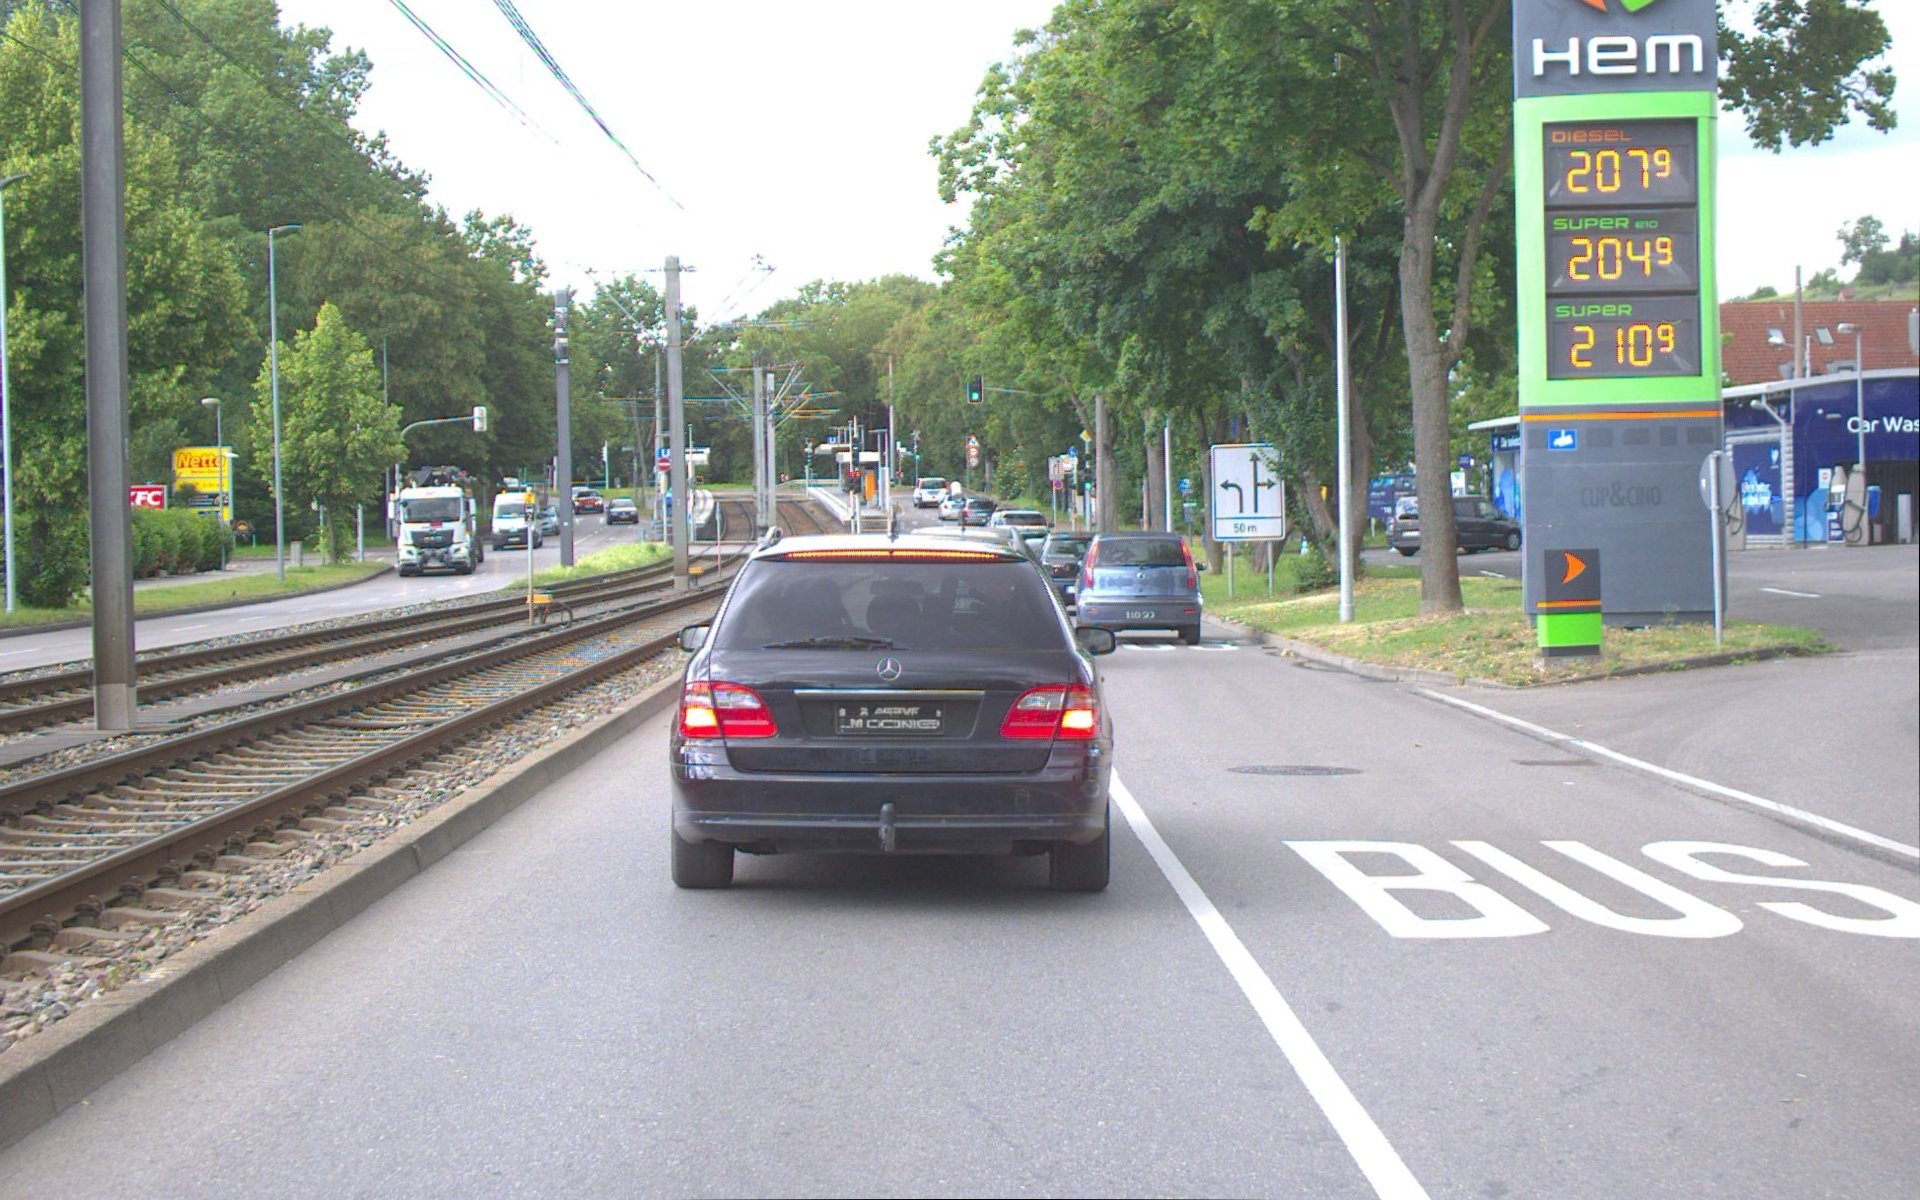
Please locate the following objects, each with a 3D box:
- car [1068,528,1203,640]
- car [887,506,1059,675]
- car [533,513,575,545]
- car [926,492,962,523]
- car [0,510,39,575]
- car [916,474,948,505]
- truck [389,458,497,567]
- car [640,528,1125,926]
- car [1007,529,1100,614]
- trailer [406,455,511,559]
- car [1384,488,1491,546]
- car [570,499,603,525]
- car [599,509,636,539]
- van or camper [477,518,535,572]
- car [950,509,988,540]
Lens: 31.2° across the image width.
[{"bbox_3d":[2.297,-0.228,45.601,1.571,1.410,3.354,1,1,0],"label":"car"},{"bbox_3d":[0.119,-0.127,38.013,1.780,1.744,3.718,1,1,0],"label":"car"},{"bbox_3d":[-21.290,-3.732,180.254,1.765,1.641,3.771,1,1,0],"label":"car"},{"bbox_3d":[-0.909,-5.196,193.189,1.993,1.708,4.000,-1,1,0],"label":"car"},{"bbox_3d":[-25.247,-1.406,85.961,3.986,1.594,1.797,-1,1,-5],"label":"car"},{"bbox_3d":[-1.766,-6.927,216.170,1.993,1.831,4.000,1,1,-1],"label":"car"},{"bbox_3d":[-18.449,-3.103,123.264,2.706,3.651,11.114,-1,1,-3],"label":"truck"},{"bbox_3d":[-0.304,0.436,14.798,1.808,1.469,3.881,0,1,0],"label":"car"},{"bbox_3d":[1.601,-0.509,59.654,1.466,1.410,3.354,1,1,0],"label":"car"},{"bbox_3d":[-18.808,-3.467,129.582,2.704,3.648,13.301,-1,1,-3],"label":"trailer"},{"bbox_3d":[14.582,-2.549,104.805,2.008,1.677,4.574,-1,1,24],"label":"car"},{"bbox_3d":[-24.401,-5.742,224.941,1.765,1.641,3.771,1,1,0],"label":"car"},{"bbox_3d":[-19.755,-4.379,198.512,1.765,1.641,3.771,1,1,0],"label":"car"},{"bbox_3d":[-20.429,-2.487,154.864,1.993,2.346,5.766,-1,1,-2],"label":"van or camper"},{"bbox_3d":[0.437,-3.820,173.407,1.666,1.527,3.771,1,1,-4],"label":"car"}]
